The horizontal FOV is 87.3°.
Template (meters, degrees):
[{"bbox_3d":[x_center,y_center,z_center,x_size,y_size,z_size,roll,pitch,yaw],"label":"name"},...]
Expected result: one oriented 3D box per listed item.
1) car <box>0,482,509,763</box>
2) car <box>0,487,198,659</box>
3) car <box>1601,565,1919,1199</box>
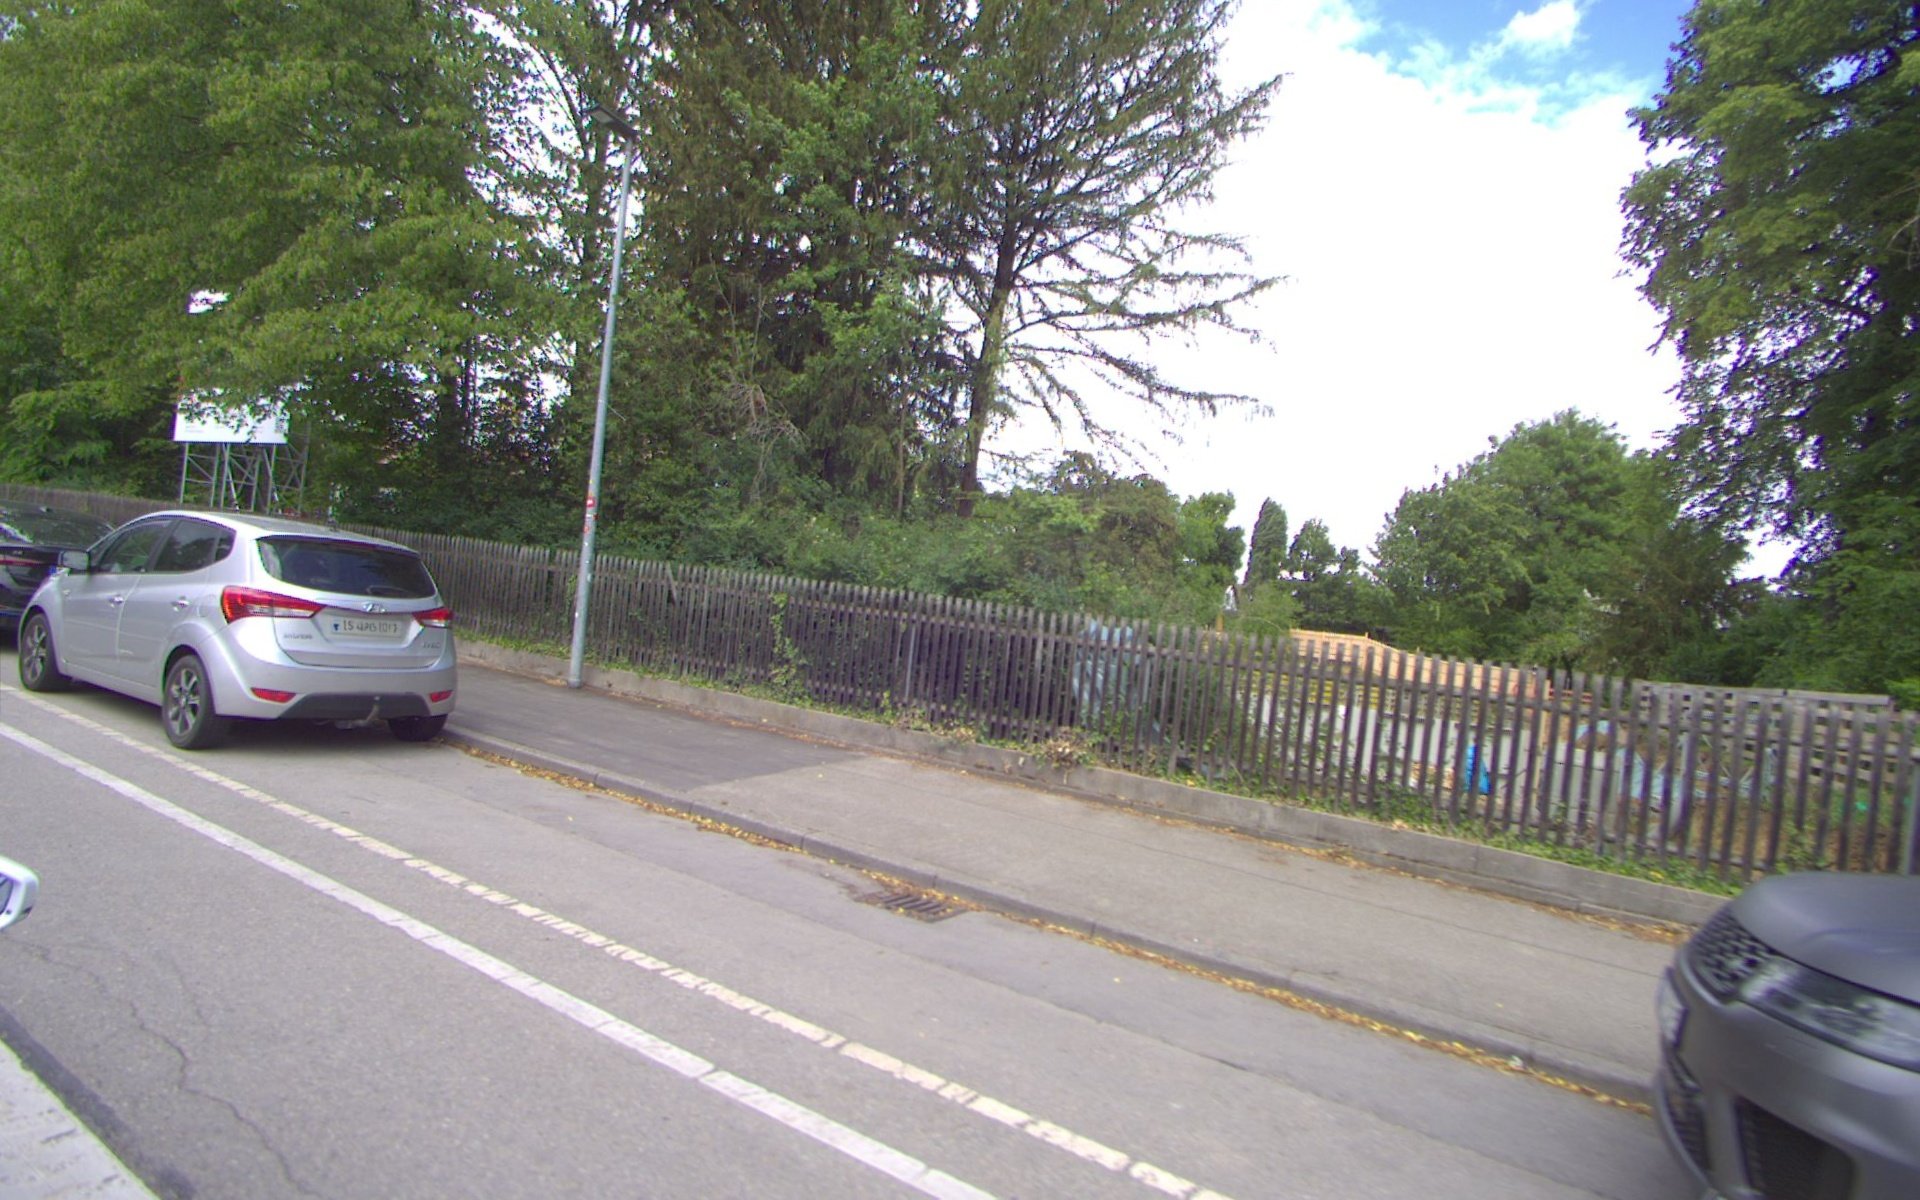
[{"bbox_3d":[-5.991,0.083,8.252,4.346,1.609,1.866,7,-1,30],"label":"car"},{"bbox_3d":[-10.633,-0.436,11.131,4.602,1.532,1.819,6,-2,31],"label":"car"},{"bbox_3d":[4.058,1.140,1.760,4.748,1.837,1.996,6,-1,32],"label":"car"}]
